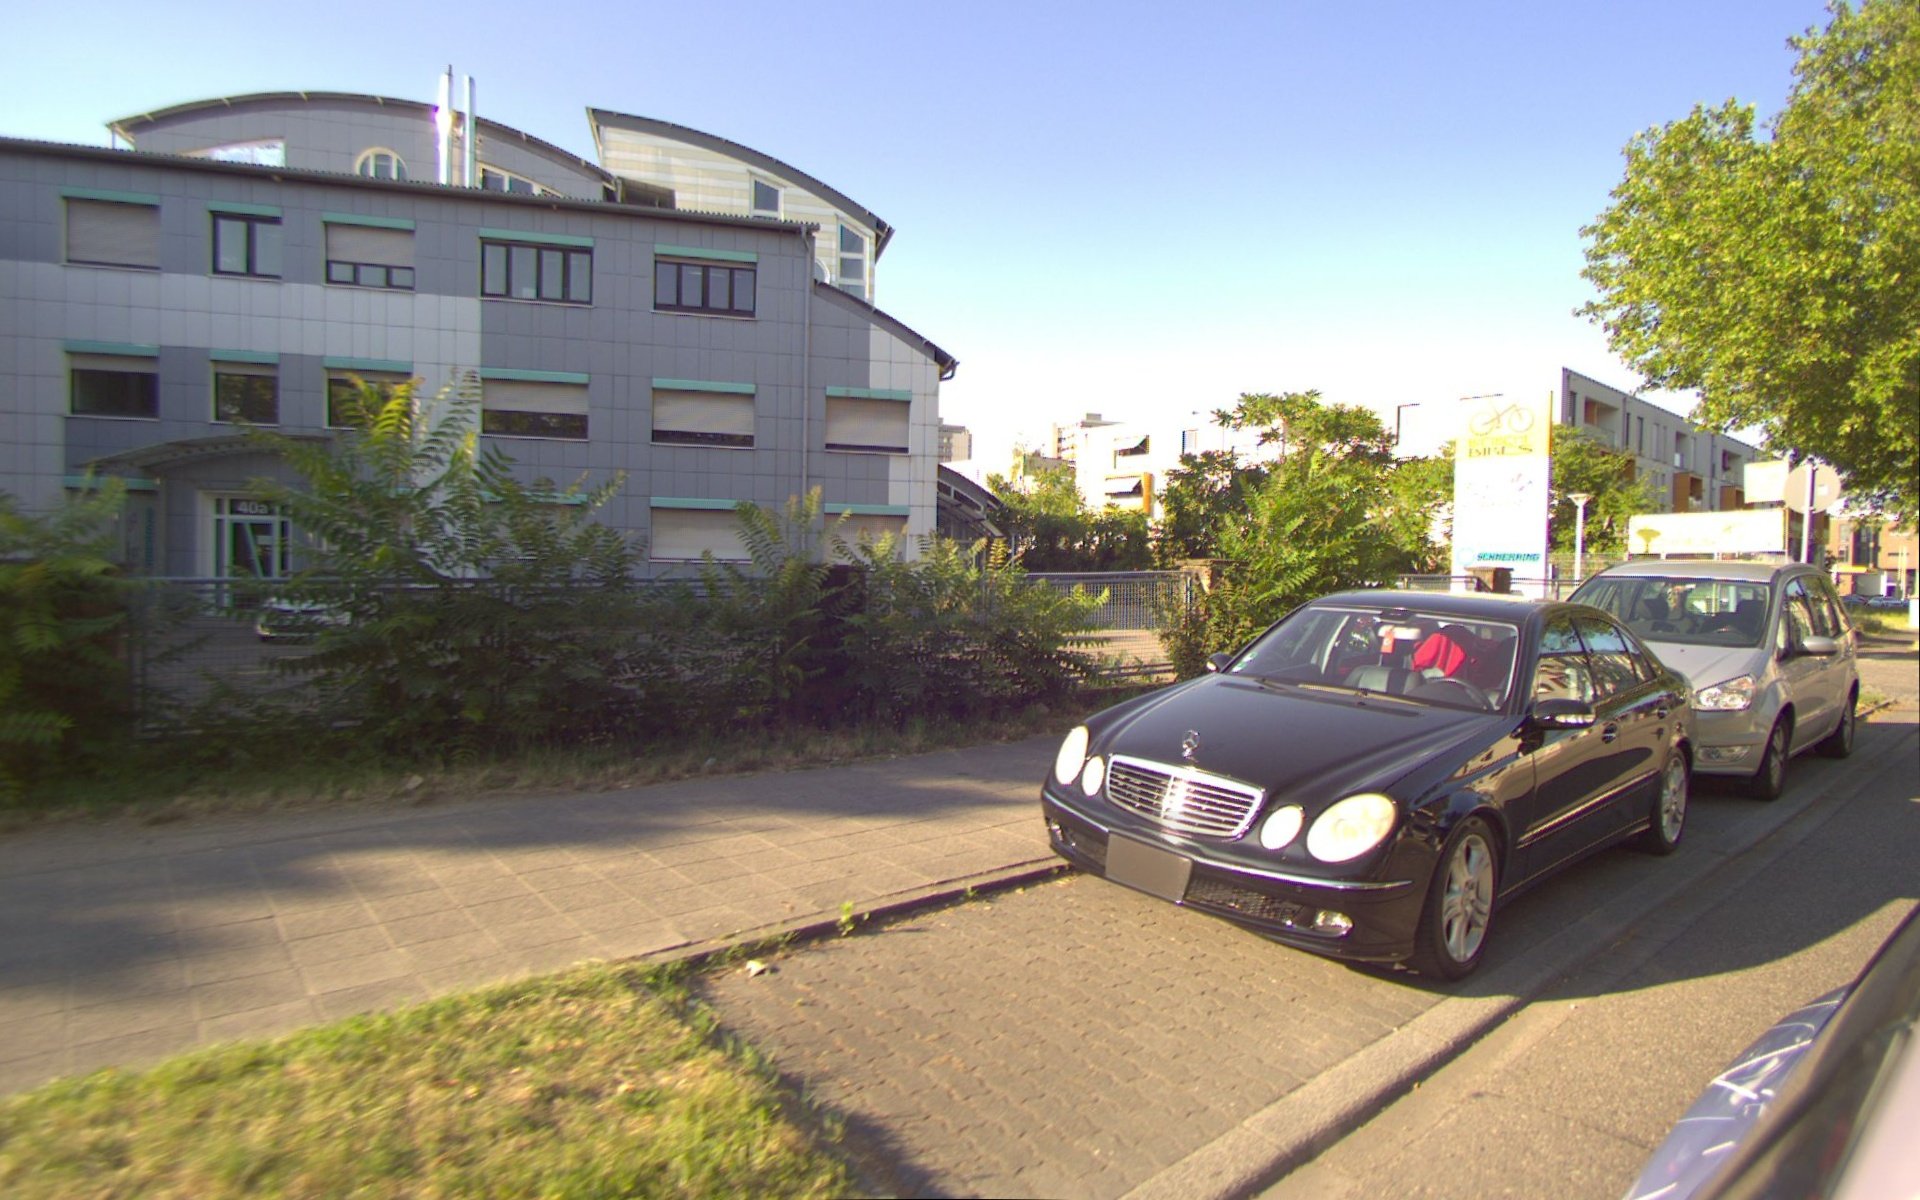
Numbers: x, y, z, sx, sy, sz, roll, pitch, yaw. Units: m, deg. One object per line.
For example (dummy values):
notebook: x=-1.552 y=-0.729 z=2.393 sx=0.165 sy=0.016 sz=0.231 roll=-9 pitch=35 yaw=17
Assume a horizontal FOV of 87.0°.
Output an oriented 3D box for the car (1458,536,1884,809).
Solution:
car: x=6.477 y=0.429 z=8.969 sx=4.832 sy=1.781 sz=1.997 roll=-1 pitch=1 yaw=-41

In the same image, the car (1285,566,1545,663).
car: x=8.221 y=0.202 z=18.566 sx=1.808 sy=1.579 sz=3.997 roll=0 pitch=1 yaw=-38

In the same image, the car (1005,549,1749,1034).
car: x=2.531 y=0.555 z=5.417 sx=4.608 sy=1.534 sz=1.786 roll=-1 pitch=3 yaw=-41

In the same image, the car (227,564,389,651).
car: x=-13.493 y=0.057 z=21.217 sx=1.869 sy=1.593 sz=4.010 roll=-1 pitch=3 yaw=-18
